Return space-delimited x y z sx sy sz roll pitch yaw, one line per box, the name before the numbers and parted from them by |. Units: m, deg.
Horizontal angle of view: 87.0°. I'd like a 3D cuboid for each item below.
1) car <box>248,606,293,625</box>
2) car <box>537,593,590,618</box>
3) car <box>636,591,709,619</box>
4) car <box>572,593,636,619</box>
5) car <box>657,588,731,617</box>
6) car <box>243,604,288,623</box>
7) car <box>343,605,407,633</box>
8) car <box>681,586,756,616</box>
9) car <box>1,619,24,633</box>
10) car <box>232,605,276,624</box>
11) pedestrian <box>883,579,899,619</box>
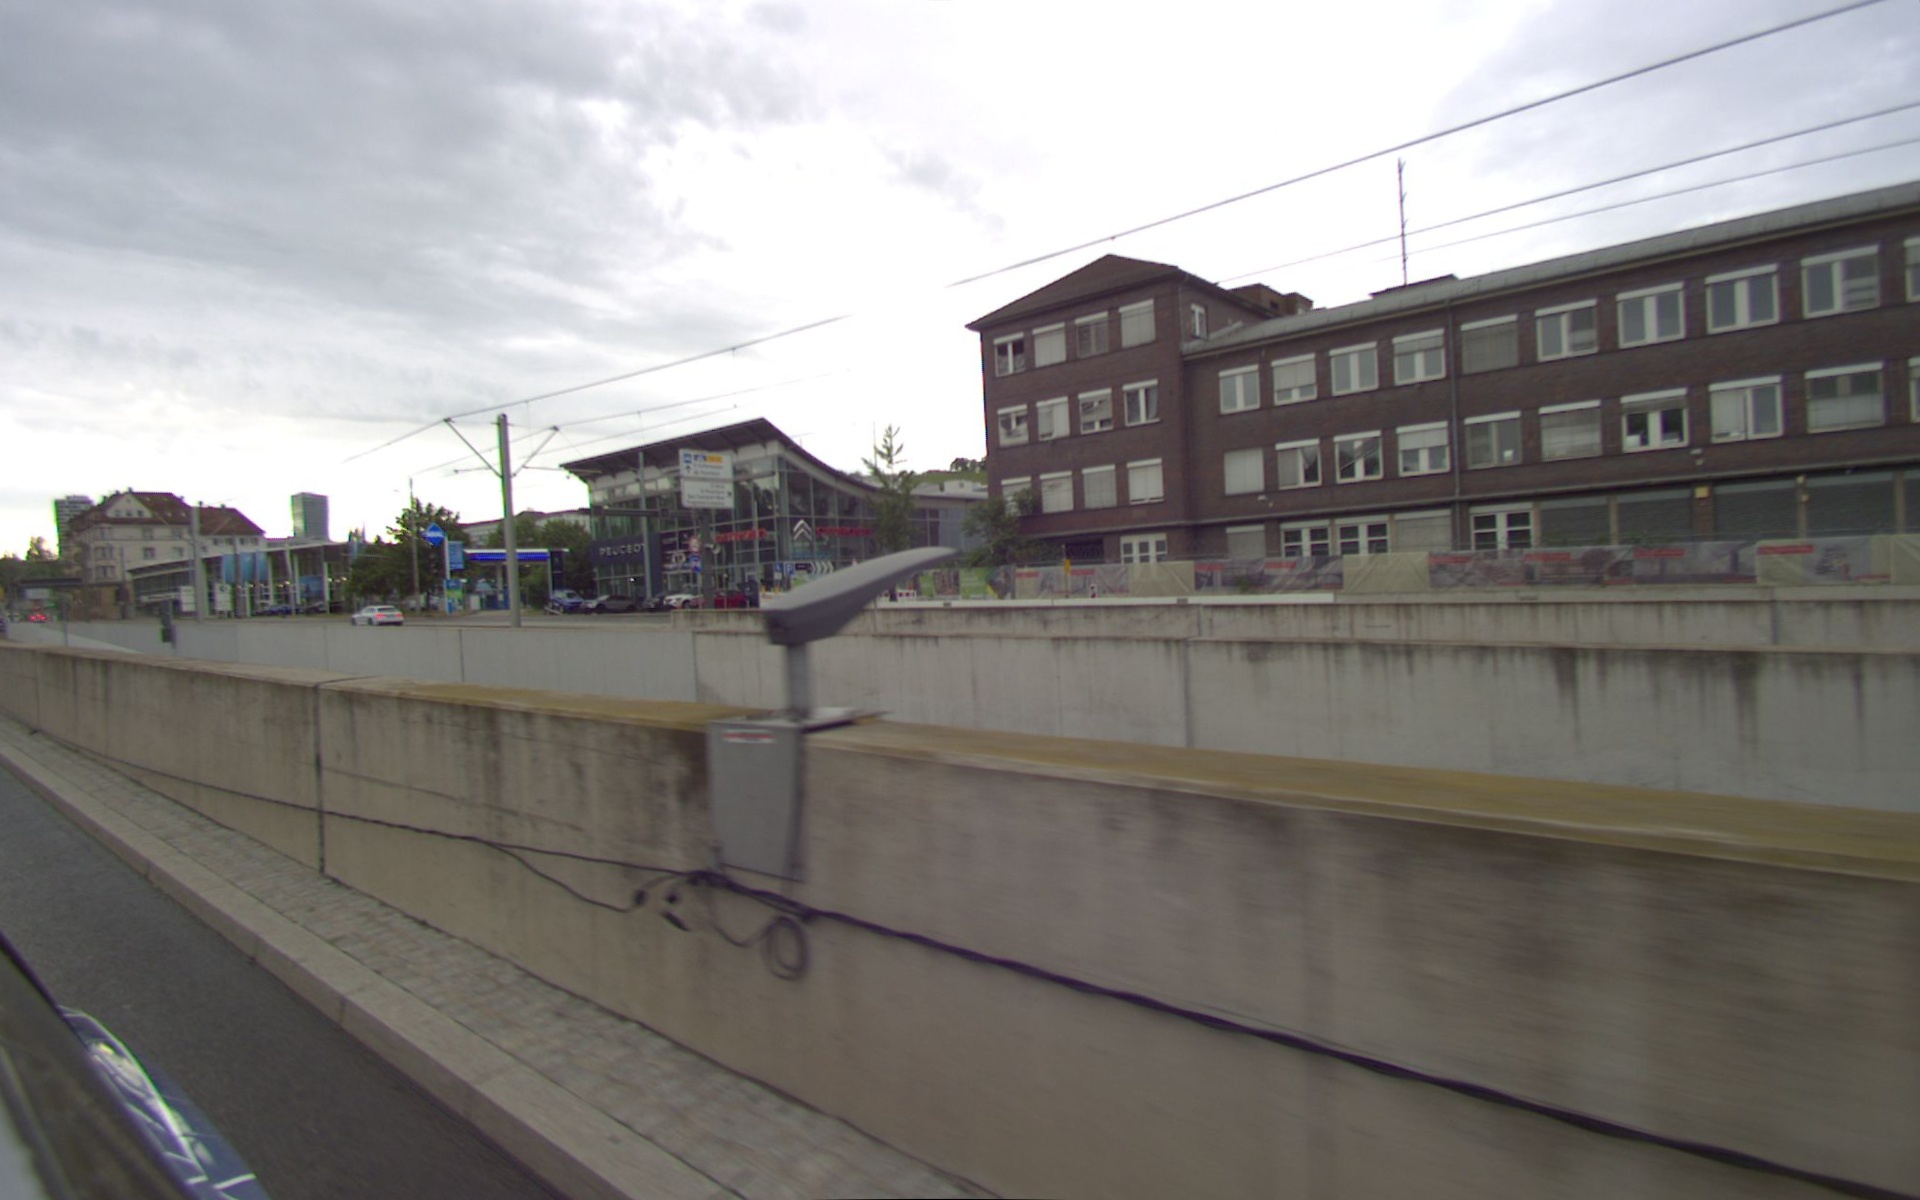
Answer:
car | -80.475 1.747 118.203 1.999 2.029 3.945 -1 1 41
car | -30.141 0.408 76.915 3.996 1.785 1.974 -1 1 39
car | -19.780 0.325 69.760 1.998 1.773 4.519 -2 1 40
car | -26.150 0.424 74.390 1.999 1.785 3.946 -1 1 40
car | -17.870 0.172 68.123 1.998 1.773 4.519 -2 1 40
car | -82.247 1.608 119.838 1.999 2.029 3.945 -1 1 41
car | -38.808 1.263 67.087 4.574 1.728 2.093 -2 1 39
car | -15.904 0.074 66.779 1.998 1.773 4.519 -2 1 40
car | -150.096 4.159 160.343 3.997 2.029 2.242 -2 1 40
car | -84.640 1.710 121.358 1.999 2.029 3.945 -1 1 41
pedestrian | -3.468 -0.053 50.876 0.720 2.029 0.580 -1 0 3
